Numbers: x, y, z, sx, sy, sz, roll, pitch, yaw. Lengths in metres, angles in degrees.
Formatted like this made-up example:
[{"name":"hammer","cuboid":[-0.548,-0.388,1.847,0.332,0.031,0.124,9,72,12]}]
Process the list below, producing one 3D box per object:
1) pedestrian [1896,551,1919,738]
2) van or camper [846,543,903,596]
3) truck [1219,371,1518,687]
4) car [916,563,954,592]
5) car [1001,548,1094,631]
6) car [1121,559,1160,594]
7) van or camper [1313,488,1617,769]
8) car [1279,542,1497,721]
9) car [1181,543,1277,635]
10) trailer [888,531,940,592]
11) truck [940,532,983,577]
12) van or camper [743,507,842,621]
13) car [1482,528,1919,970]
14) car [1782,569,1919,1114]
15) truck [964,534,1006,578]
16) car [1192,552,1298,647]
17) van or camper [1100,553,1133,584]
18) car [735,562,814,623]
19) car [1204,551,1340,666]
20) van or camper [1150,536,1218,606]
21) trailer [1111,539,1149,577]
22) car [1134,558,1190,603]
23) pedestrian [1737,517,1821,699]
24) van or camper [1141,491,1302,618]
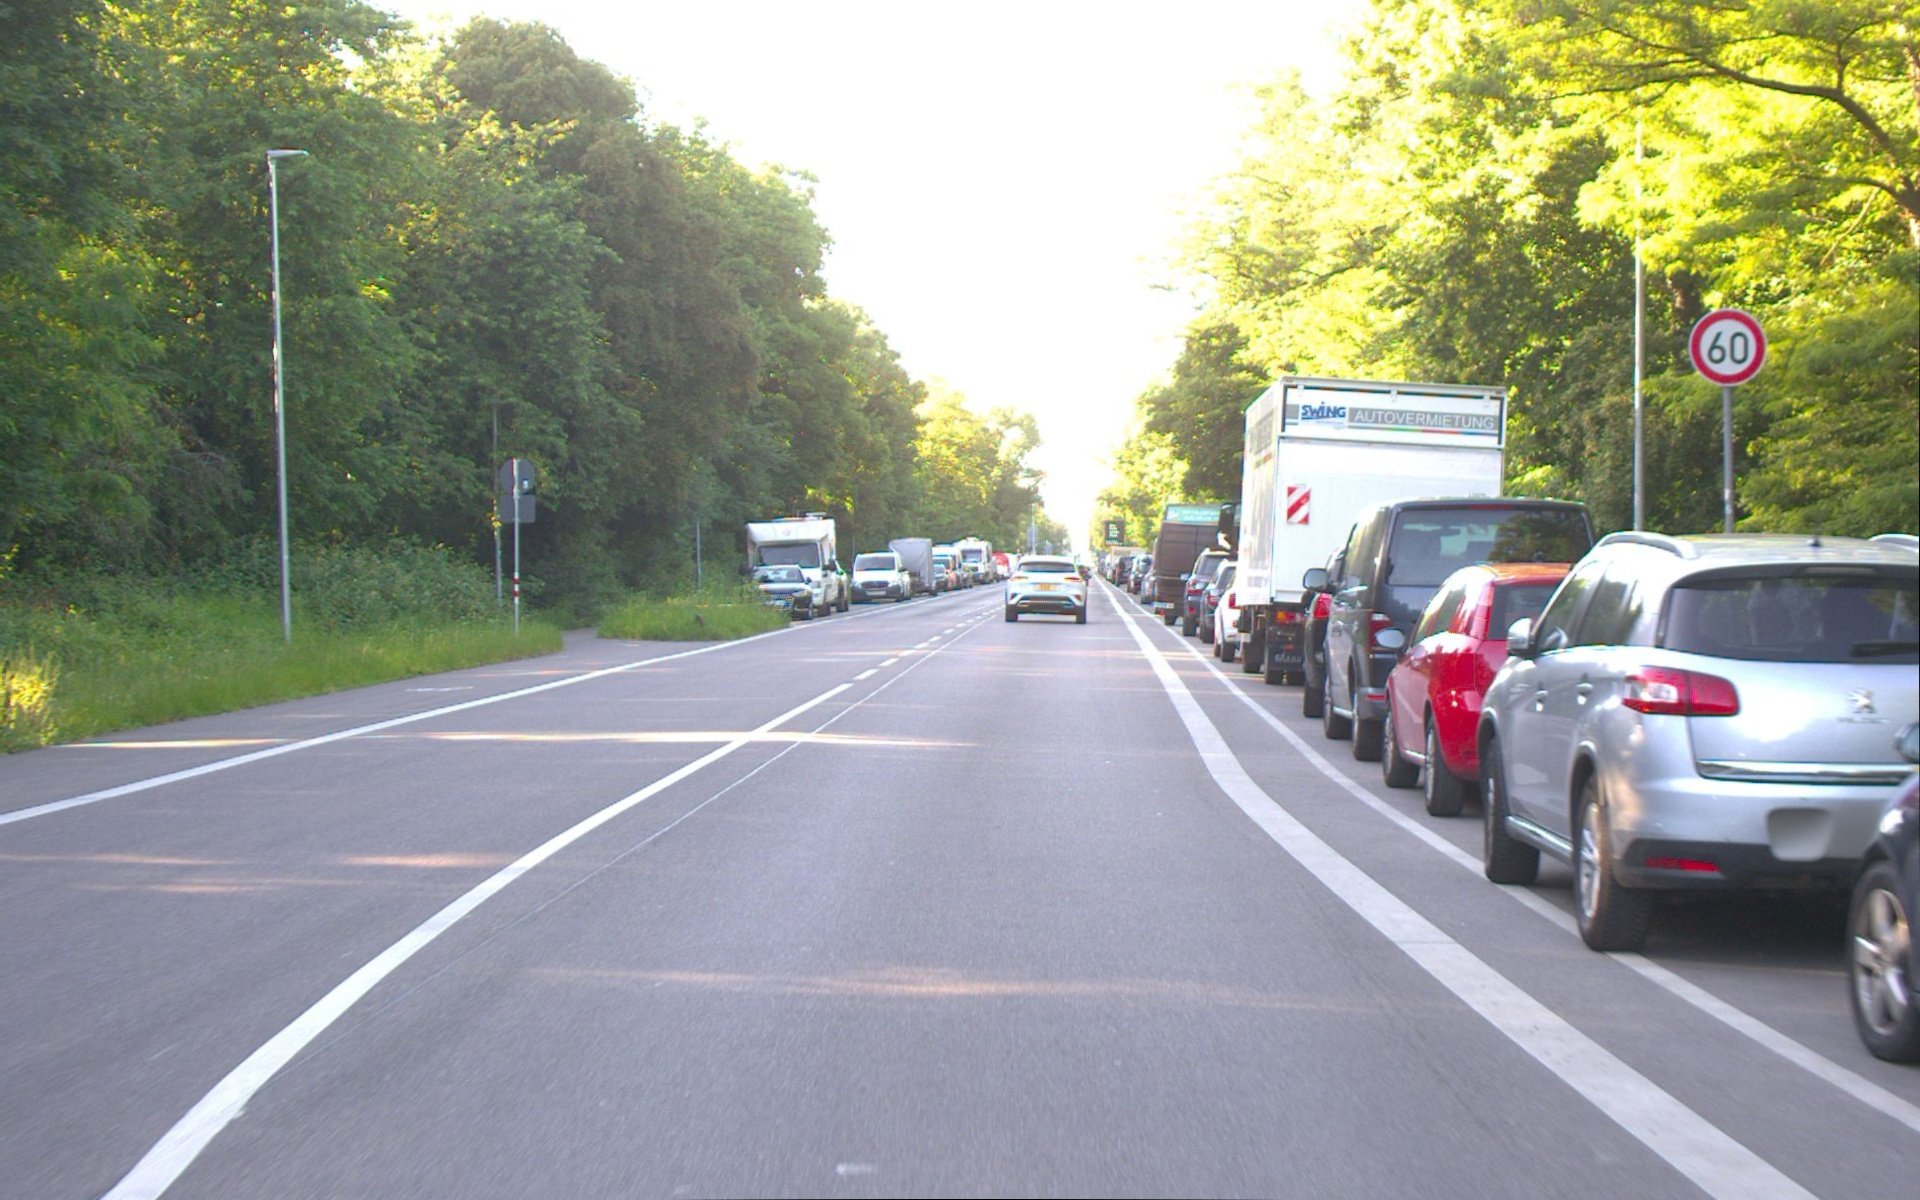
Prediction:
[{"name":"pedestrian","cuboid":[8.253,0.370,29.324,0.394,1.582,0.482,-1,1,2]},{"name":"van or camper","cuboid":[-3.202,-1.143,129.583,1.835,1.905,4.856,-1,1,2]},{"name":"truck","cuboid":[4.838,-0.850,42.293,2.832,3.485,8.578,0,1,1]},{"name":"car","cuboid":[-1.303,-1.183,178.867,1.731,1.473,4.324,-2,1,3]},{"name":"car","cuboid":[2.002,-0.266,77.738,2.029,1.834,4.029,0,1,3]},{"name":"car","cuboid":[8.202,-1.067,156.391,1.690,1.519,4.149,1,1,2]},{"name":"van or camper","cuboid":[3.853,0.170,26.919,1.898,2.007,4.586,0,1,3]},{"name":"car","cuboid":[4.125,0.261,33.675,1.799,1.651,4.029,0,1,3]},{"name":"car","cuboid":[5.192,-0.234,66.717,1.712,1.659,4.551,2,1,3]},{"name":"trailer","cuboid":[-2.038,-1.715,152.805,1.994,2.589,4.415,-2,0,2]},{"name":"truck","cuboid":[0.137,-3.390,257.119,2.708,3.336,10.922,0,1,2]},{"name":"van or camper","cuboid":[-4.616,-1.019,95.675,2.314,2.960,7.111,-2,1,0]},{"name":"car","cuboid":[3.304,0.506,14.384,1.799,1.589,4.029,0,1,3]},{"name":"car","cuboid":[3.621,0.725,8.947,1.807,1.514,4.504,2,1,0]},{"name":"truck","cuboid":[1.832,-3.114,245.431,2.708,3.083,7.988,0,1,2]},{"name":"car","cuboid":[5.027,-0.048,61.102,1.712,1.563,4.551,2,1,3]},{"name":"van or camper","cuboid":[9.829,-1.987,216.020,1.994,1.925,5.198,1,1,2]},{"name":"car","cuboid":[-4.737,-0.205,88.338,1.827,1.471,4.681,-1,1,-1]},{"name":"car","cuboid":[4.554,0.096,50.623,1.712,1.563,4.000,2,1,2]},{"name":"van or camper","cuboid":[7.537,-0.999,116.216,2.035,2.304,6.041,-1,1,1]},{"name":"trailer","cuboid":[12.871,-3.155,260.661,2.757,2.860,6.588,0,1,2]},{"name":"car","cuboid":[7.214,-0.723,123.219,1.747,1.510,4.000,-2,1,0]},{"name":"pedestrian","cuboid":[8.027,0.071,33.712,0.618,1.758,0.906,-1,1,2]},{"name":"van or camper","cuboid":[6.104,-1.071,79.491,2.443,2.790,6.552,-1,1,16]}]
